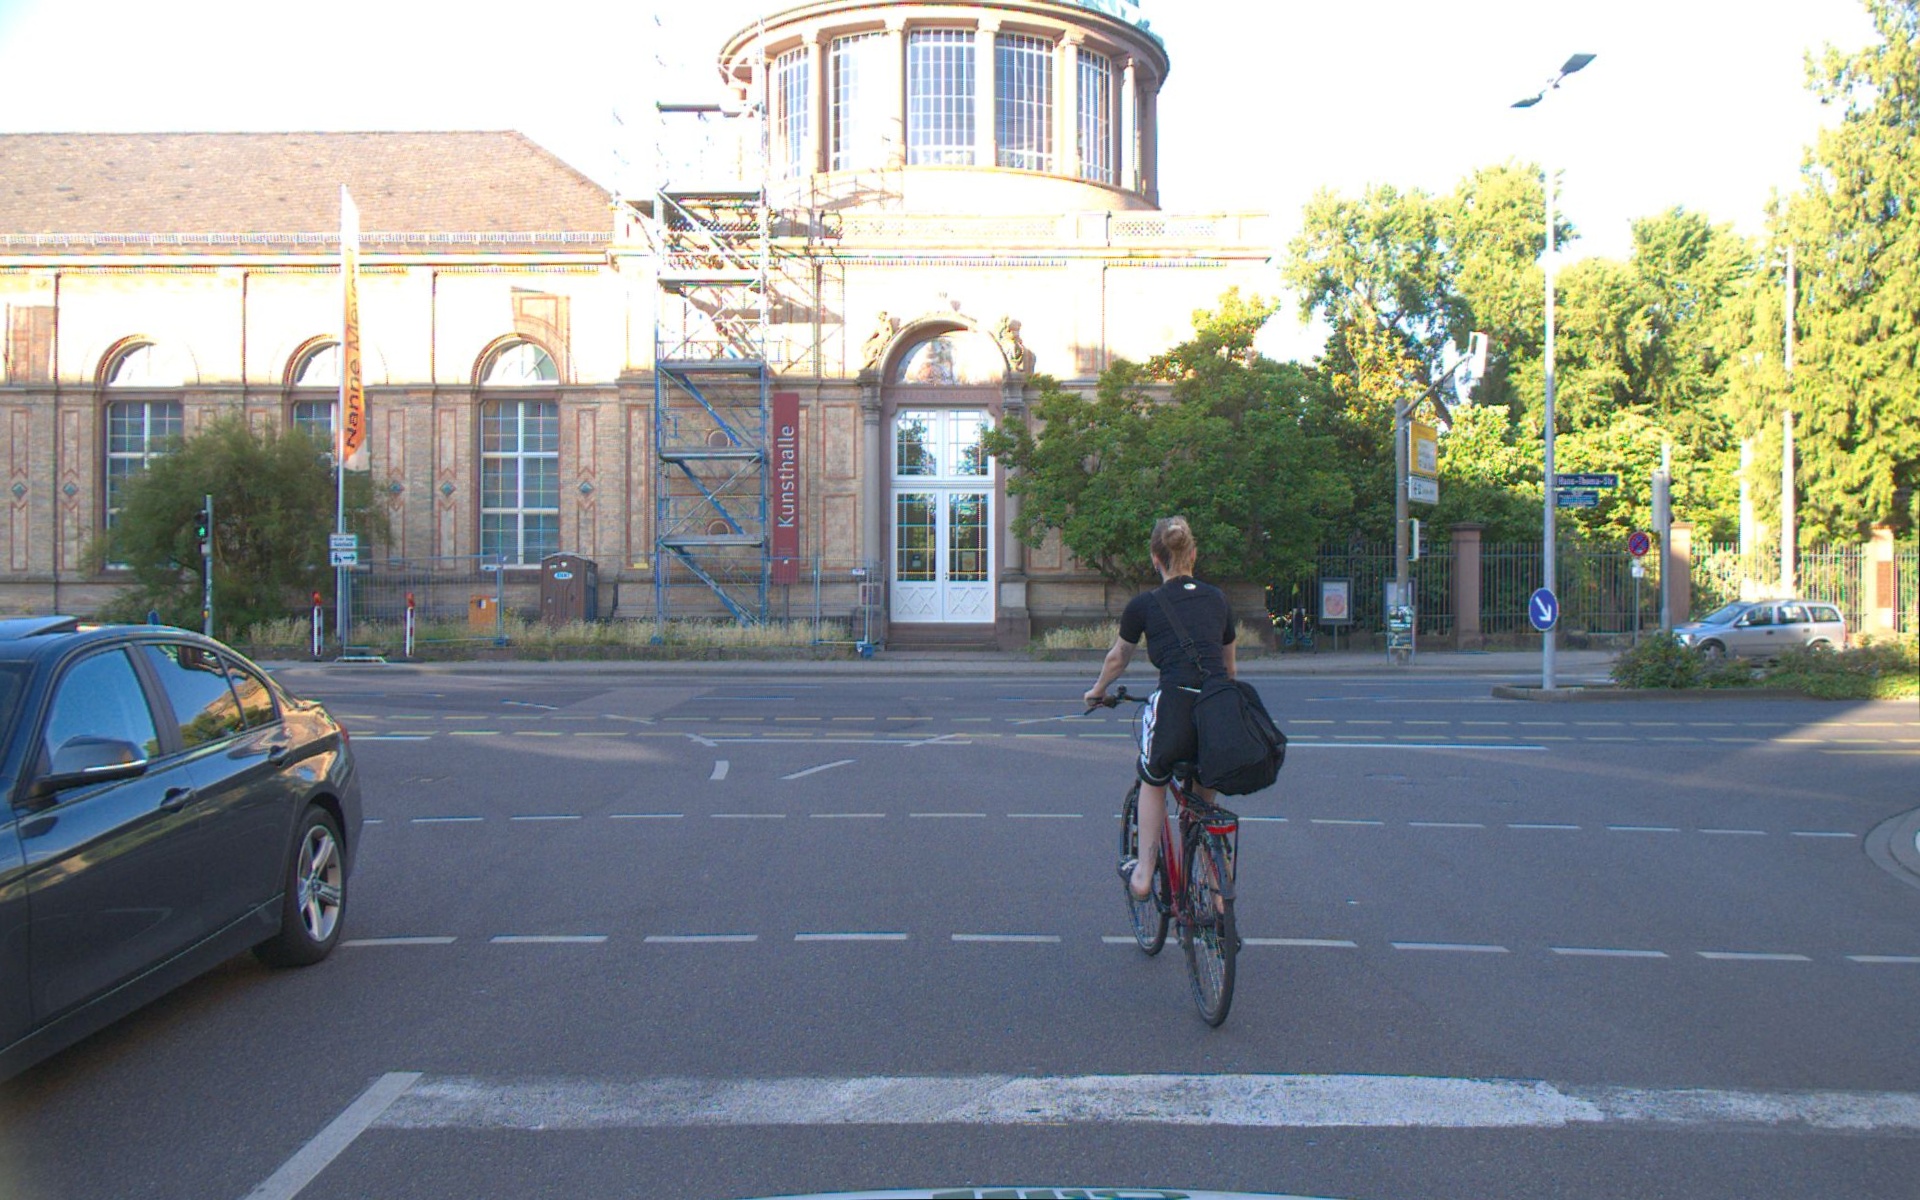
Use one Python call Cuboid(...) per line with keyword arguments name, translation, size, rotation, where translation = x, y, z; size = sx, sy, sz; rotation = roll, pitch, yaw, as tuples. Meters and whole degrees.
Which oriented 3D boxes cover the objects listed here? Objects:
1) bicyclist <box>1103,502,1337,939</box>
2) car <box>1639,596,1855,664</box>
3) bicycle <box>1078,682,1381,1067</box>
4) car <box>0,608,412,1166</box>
Cuboid(name="bicyclist", translation=(0.952, 0.431, 6.256), size=(0.702, 1.529, 0.850), rotation=(0, -2, -4))
Cuboid(name="car", translation=(17.634, 0.659, 37.154), size=(4.104, 1.470, 1.713), rotation=(0, 0, -6))
Cuboid(name="bicycle", translation=(0.940, 0.928, 6.352), size=(0.697, 1.176, 2.067), rotation=(0, -2, -4))
Cuboid(name="car", translation=(-3.441, 0.787, 5.482), size=(1.745, 1.485, 4.423), rotation=(-1, 0, 0))
